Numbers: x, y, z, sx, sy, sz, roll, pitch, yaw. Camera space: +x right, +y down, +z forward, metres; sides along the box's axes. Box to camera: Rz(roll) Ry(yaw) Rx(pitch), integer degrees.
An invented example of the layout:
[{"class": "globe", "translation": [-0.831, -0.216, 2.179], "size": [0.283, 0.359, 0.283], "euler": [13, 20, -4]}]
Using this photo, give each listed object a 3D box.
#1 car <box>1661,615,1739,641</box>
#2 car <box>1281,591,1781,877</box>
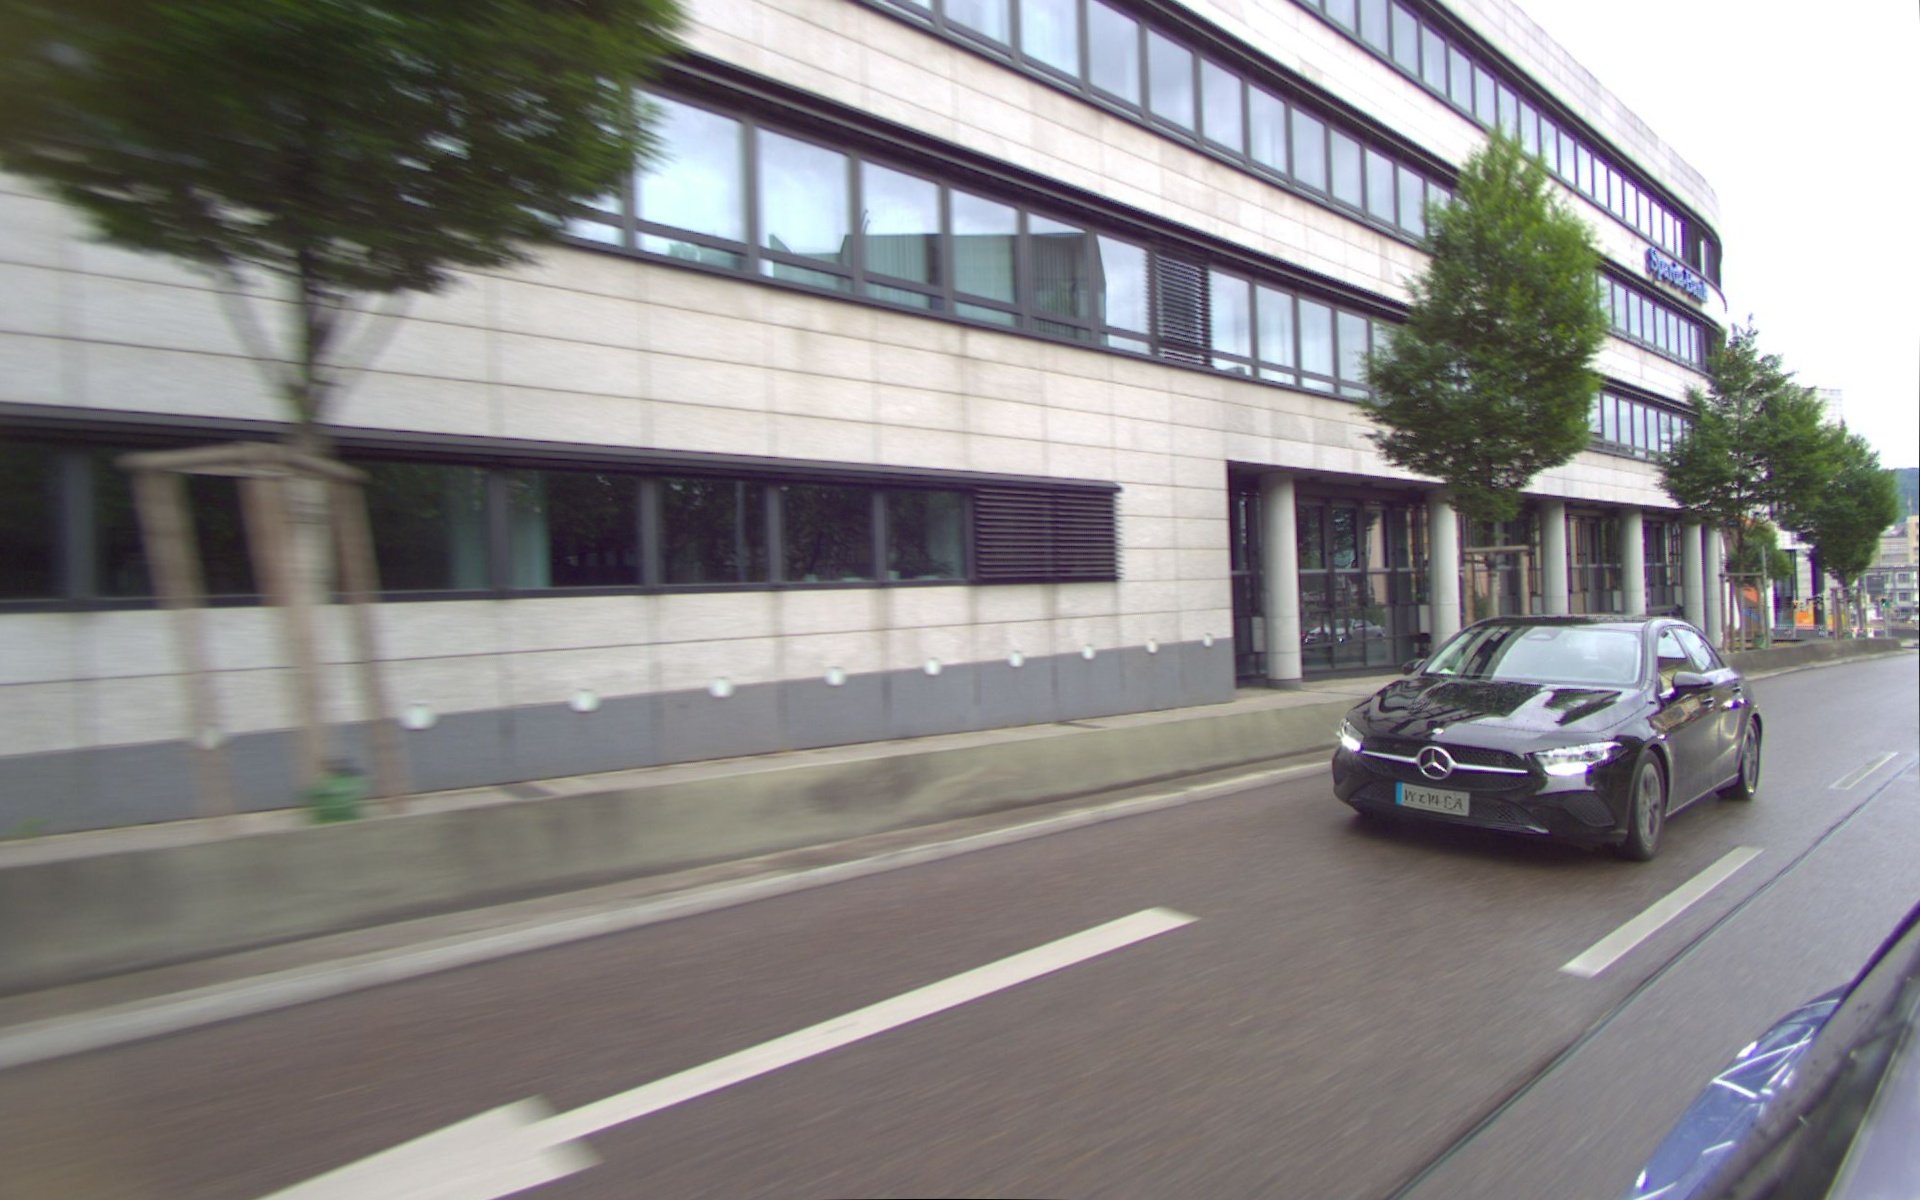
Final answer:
[{"class": "car", "translation": [50.053, 1.863, 68.487], "size": [1.812, 1.640, 3.992], "euler": [0, 0, -42]}, {"class": "car", "translation": [4.254, 0.698, 7.257], "size": [4.132, 1.455, 1.875], "euler": [0, -1, -41]}]
